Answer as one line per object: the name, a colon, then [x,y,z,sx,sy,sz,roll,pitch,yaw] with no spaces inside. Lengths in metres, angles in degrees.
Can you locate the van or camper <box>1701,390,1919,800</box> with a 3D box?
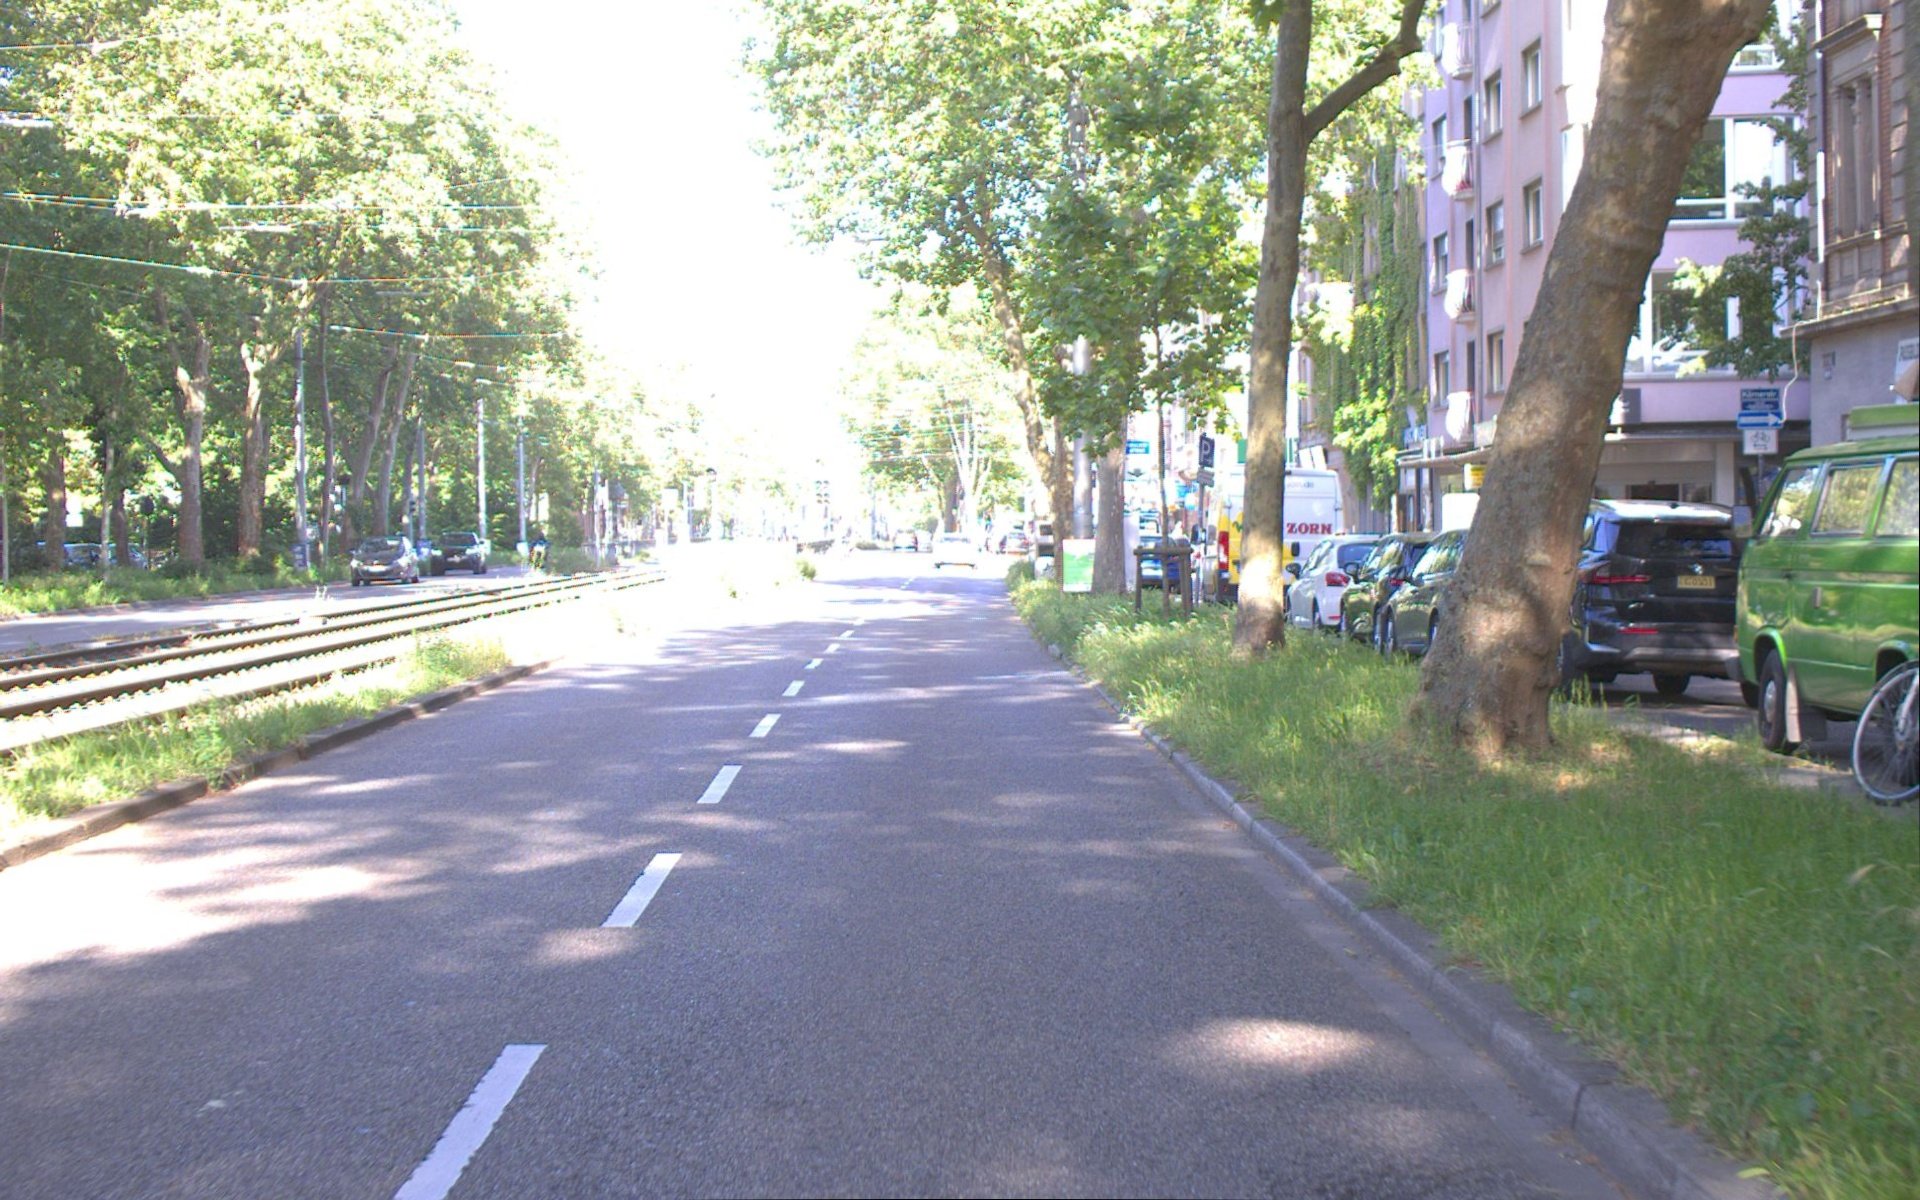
van or camper: [5.735,-0.026,19.324,1.833,2.090,4.775,2,1,-2]

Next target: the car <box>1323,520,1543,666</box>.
car: [5.271,-0.111,38.779,1.753,1.491,4.185,2,1,-1]

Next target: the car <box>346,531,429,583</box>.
car: [-17.828,-1.352,107.226,1.795,1.503,4.339,-3,1,0]

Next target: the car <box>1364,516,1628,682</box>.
car: [5.220,-0.046,34.032,1.737,1.459,4.366,2,1,-2]

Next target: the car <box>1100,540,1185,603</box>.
car: [4.476,-0.715,84.578,1.683,1.508,3.668,0,1,-3]

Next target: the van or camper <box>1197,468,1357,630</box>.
van or camper: [5.185,-0.841,57.005,2.184,2.472,6.268,2,1,2]

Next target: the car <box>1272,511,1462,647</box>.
car: [5.117,-0.290,43.719,1.753,1.567,4.185,2,1,-1]

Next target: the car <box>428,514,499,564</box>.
car: [-19.620,-2.420,136.015,1.993,1.864,4.873,-2,1,0]

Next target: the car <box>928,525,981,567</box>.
car: [-0.247,-2.159,136.378,2.021,1.656,4.000,0,1,-1]

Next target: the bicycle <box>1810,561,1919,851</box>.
bicycle: [5.374,0.483,16.019,2.548,1.290,0.975,1,1,-7]

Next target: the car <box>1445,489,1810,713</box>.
car: [5.474,-0.036,28.845,1.890,1.641,4.801,2,1,-2]
